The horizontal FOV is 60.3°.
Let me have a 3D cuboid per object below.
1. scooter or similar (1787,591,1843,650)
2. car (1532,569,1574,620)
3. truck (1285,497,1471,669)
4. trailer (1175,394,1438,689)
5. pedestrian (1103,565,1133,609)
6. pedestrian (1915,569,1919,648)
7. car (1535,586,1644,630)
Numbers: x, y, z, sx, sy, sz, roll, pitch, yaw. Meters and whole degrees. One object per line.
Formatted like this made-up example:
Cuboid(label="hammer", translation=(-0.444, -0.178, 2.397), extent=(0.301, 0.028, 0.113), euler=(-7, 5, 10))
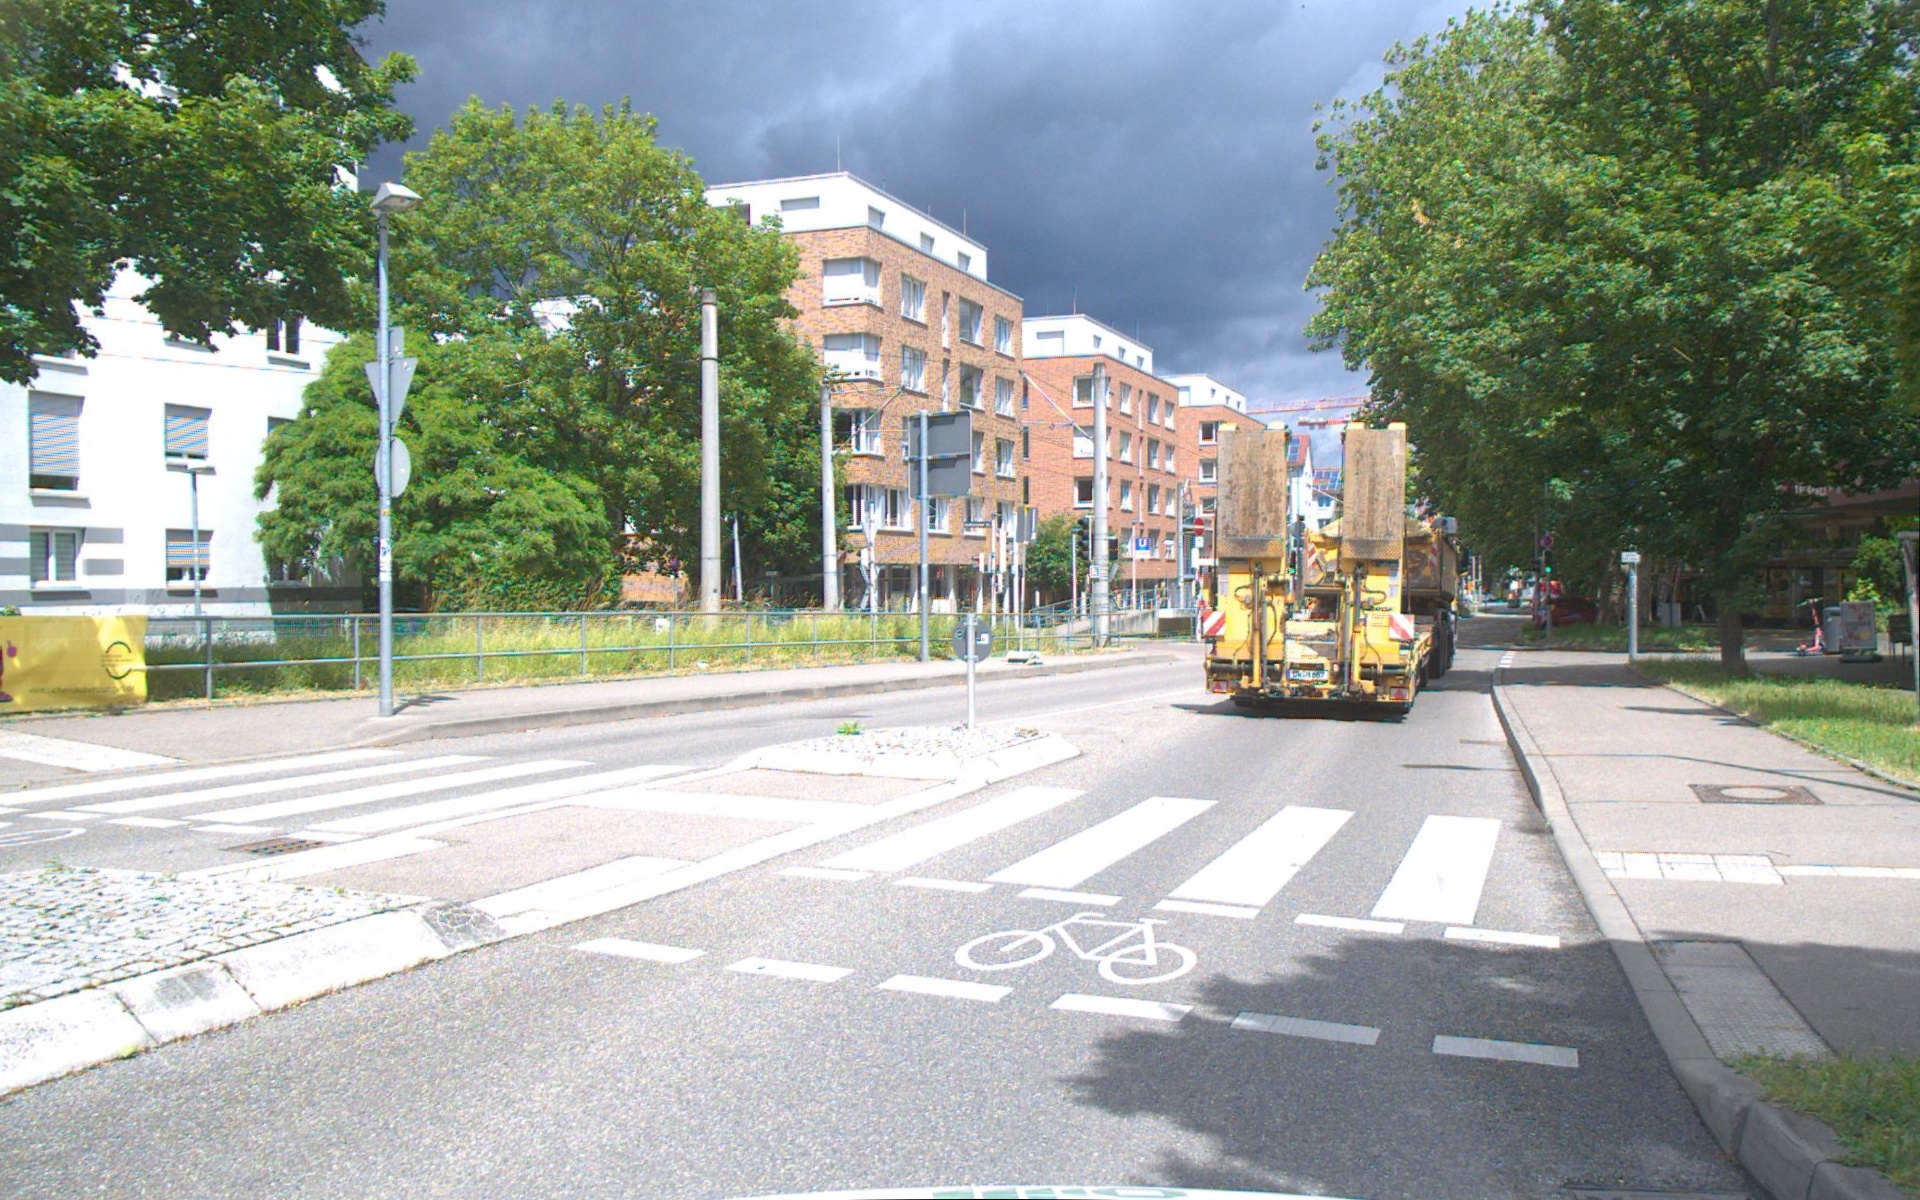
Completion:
Cuboid(label="scooter or similar", translation=(19.133, 0.447, 37.005), extent=(1.716, 1.248, 0.512), euler=(-2, 2, -41))
Cuboid(label="car", translation=(35.945, -0.397, 100.131), extent=(1.954, 2.876, 5.113), euler=(4, 3, 23))
Cuboid(label="truck", translation=(8.839, -0.305, 34.236), extent=(2.926, 3.088, 8.488), euler=(-1, 0, 20))
Cuboid(label="trailer", translation=(5.607, -0.694, 24.953), extent=(2.803, 3.431, 10.847), euler=(-1, 0, 17))
Cuboid(label="pedestrian", translation=(7.489, -0.629, 78.536), extent=(1.115, 2.049, 0.997), euler=(-1, 0, 26))
Cuboid(label="pedestrian", translation=(19.800, 0.170, 33.473), extent=(0.682, 1.601, 0.558), euler=(0, 0, 14))
Cuboid(label="car", translation=(24.523, 0.280, 64.435), extent=(3.906, 1.537, 2.000), euler=(1, 3, 23))
